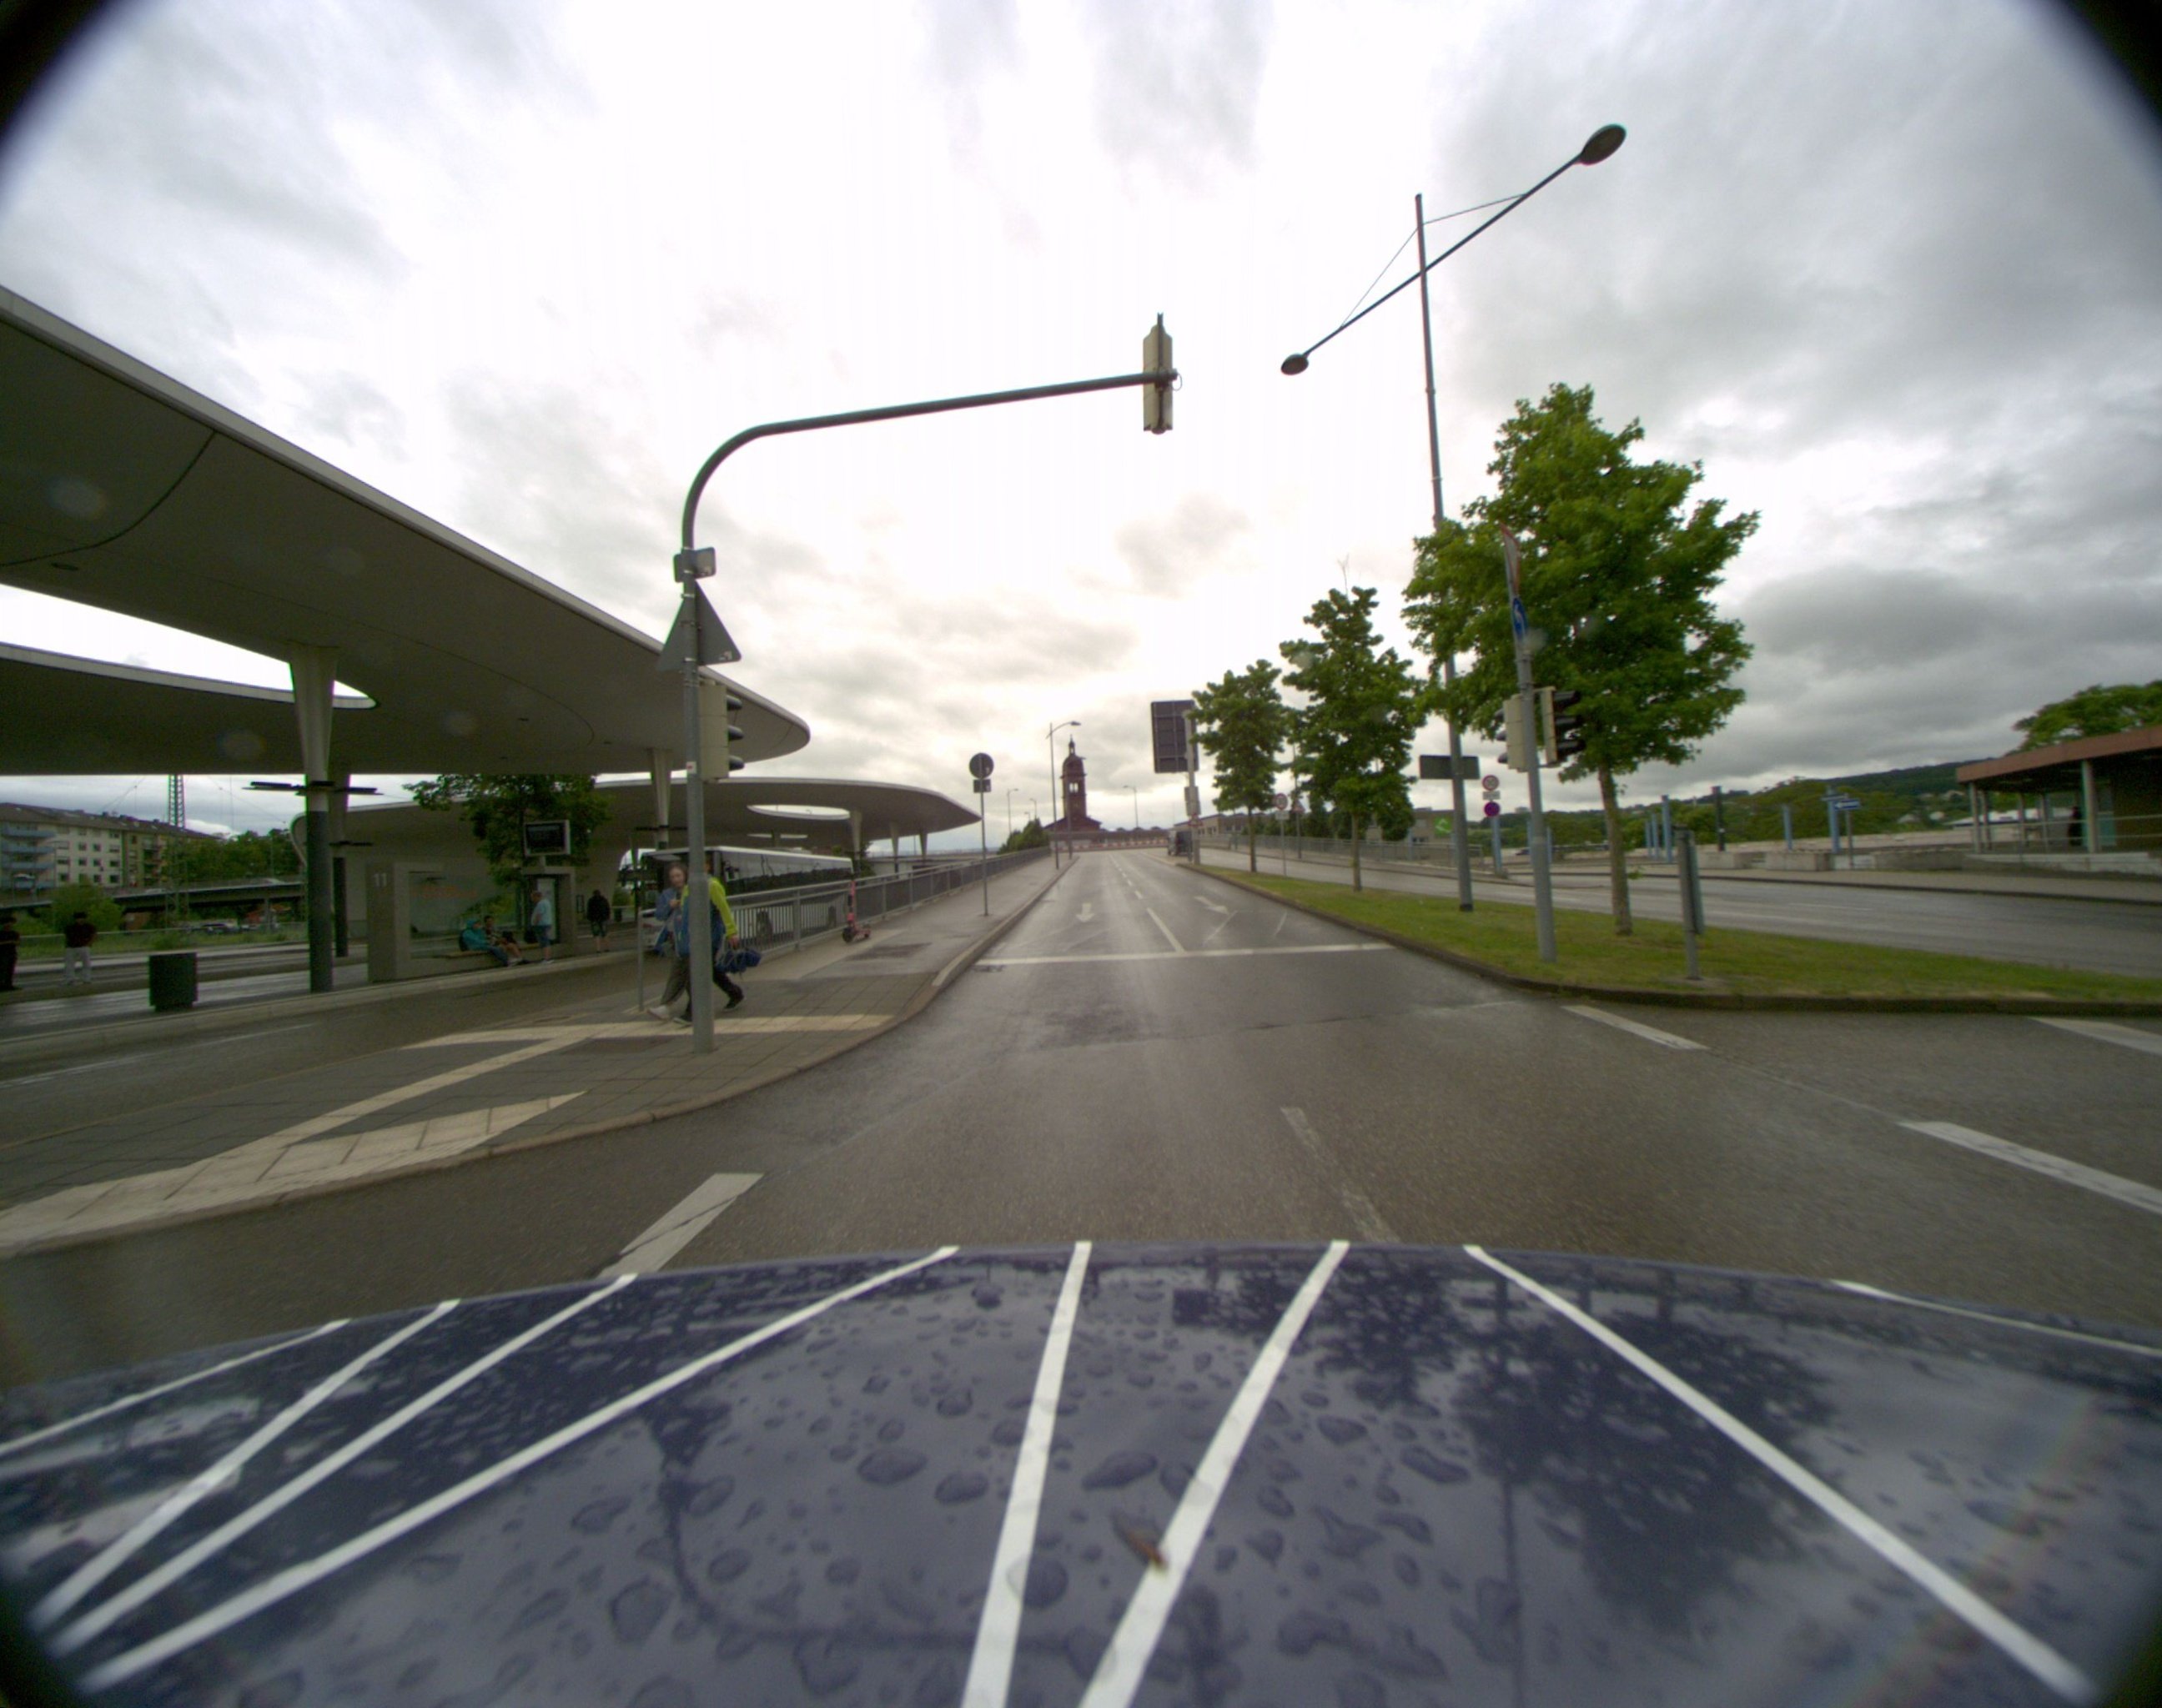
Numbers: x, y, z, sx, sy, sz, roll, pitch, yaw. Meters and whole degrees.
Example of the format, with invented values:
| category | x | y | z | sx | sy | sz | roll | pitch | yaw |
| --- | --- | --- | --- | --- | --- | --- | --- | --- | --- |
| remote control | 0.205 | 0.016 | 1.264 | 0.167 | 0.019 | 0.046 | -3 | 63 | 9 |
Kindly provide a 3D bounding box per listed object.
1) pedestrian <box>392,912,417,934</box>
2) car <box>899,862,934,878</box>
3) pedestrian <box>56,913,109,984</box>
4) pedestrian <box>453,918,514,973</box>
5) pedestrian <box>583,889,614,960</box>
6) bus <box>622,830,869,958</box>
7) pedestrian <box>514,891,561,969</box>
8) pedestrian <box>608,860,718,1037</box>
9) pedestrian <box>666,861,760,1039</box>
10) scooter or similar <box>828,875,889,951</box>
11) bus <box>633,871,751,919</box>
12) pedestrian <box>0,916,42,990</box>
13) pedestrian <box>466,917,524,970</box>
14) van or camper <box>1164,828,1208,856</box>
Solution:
| category | x | y | z | sx | sy | sz | roll | pitch | yaw |
| --- | --- | --- | --- | --- | --- | --- | --- | --- | --- |
| pedestrian | -44.041 | 4.480 | 49.479 | 0.800 | 1.317 | 0.711 | -5 | 2 | 7 |
| car | -24.798 | 2.401 | 114.442 | 4.682 | 1.956 | 2.114 | -4 | 0 | -1 |
| pedestrian | -24.528 | 2.295 | 18.673 | 0.644 | 1.644 | 0.638 | -1 | -1 | -38 |
| pedestrian | -14.151 | 2.157 | 18.014 | 0.954 | 1.247 | 0.648 | 1 | -3 | -22 |
| pedestrian | -13.207 | 1.913 | 20.806 | 0.650 | 1.892 | 0.585 | 2 | -3 | -34 |
| bus | -11.156 | 1.354 | 27.501 | 2.852 | 3.341 | 12.432 | -6 | -2 | 1 |
| pedestrian | -13.199 | 1.828 | 18.467 | 0.585 | 1.875 | 0.650 | 0 | -3 | 12 |
| pedestrian | -4.199 | 0.928 | 7.670 | 0.590 | 1.661 | 0.580 | -5 | 4 | 1 |
| pedestrian | -3.637 | 0.925 | 7.548 | 0.523 | 1.661 | 0.580 | -3 | 2 | 1 |
| scooter or similar | -3.946 | 1.008 | 13.598 | 0.465 | 1.214 | 1.860 | -2 | 0 | 1 |
| bus | -30.585 | 3.120 | 60.642 | 2.795 | 3.237 | 12.144 | -2 | -1 | 2 |
| pedestrian | -24.677 | 2.278 | 17.570 | 0.570 | 1.644 | 0.557 | -2 | -1 | 8 |
| pedestrian | -14.380 | 2.185 | 18.674 | 0.954 | 1.247 | 0.648 | 1 | -3 | -22 |
| van or camper | 8.307 | -0.998 | 60.653 | 2.223 | 2.061 | 5.278 | -1 | 2 | -7 |
